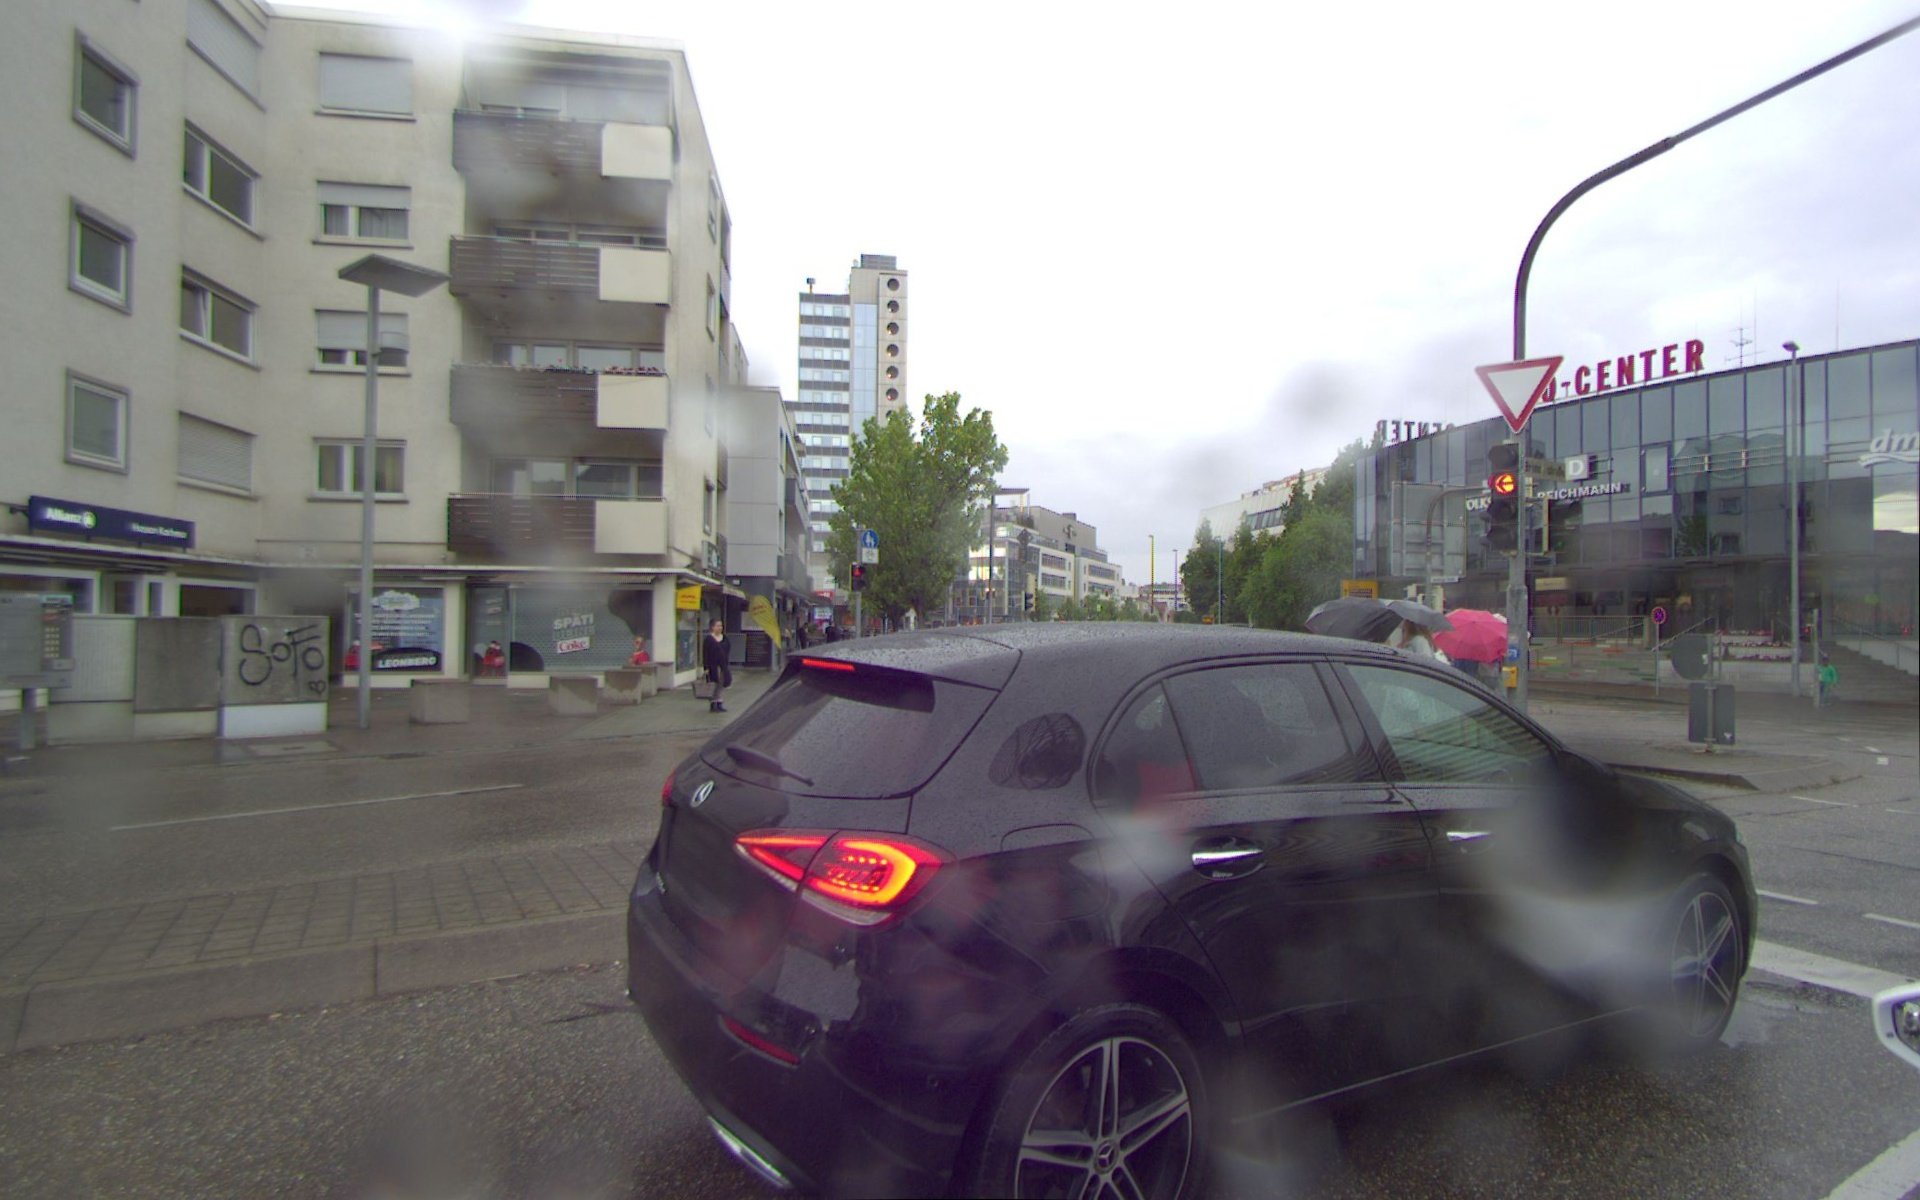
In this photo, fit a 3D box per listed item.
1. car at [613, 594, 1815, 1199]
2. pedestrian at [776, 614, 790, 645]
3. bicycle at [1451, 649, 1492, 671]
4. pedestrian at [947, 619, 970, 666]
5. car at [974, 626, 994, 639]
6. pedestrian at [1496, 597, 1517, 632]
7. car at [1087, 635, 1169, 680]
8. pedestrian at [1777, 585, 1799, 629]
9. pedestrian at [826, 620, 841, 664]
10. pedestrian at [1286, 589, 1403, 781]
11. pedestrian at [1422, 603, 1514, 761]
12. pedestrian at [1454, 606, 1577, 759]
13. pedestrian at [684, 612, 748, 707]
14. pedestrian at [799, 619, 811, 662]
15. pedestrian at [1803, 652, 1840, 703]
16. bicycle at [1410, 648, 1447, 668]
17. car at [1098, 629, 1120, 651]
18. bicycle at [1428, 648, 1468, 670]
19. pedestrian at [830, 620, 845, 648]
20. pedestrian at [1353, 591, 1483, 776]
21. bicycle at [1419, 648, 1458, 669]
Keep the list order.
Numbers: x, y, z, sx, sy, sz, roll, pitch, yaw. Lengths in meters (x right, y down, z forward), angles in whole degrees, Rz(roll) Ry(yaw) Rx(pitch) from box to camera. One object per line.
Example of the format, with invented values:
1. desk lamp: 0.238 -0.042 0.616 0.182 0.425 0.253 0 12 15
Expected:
1. car: 1.073 0.765 3.463 4.047 1.501 1.654 1 1 -31
2. pedestrian: -11.648 1.937 66.066 0.858 2.040 0.924 1 -1 -9
3. bicycle: 25.812 3.030 50.708 1.822 1.036 0.631 -1 -2 -11
4. pedestrian: -0.076 1.561 36.856 0.799 1.677 0.714 1 -2 -2
5. car: 2.606 3.495 109.847 1.414 1.314 3.770 2 -1 -10
6. pedestrian: 27.623 0.709 50.789 0.642 1.736 0.599 2 0 -6
7. car: 5.960 2.015 36.248 2.081 1.432 5.147 2 -2 1
8. pedestrian: 34.795 0.307 42.216 0.625 1.831 0.501 2 0 44
9. pedestrian: -5.214 1.734 41.511 0.557 1.817 0.491 1 -1 -3
10. pedestrian: 3.769 0.796 9.815 0.937 1.759 0.835 0 -2 31
11. pedestrian: 5.701 0.902 11.300 0.790 1.707 0.674 1 -2 14
12. pedestrian: 6.490 0.935 11.761 0.906 1.699 0.931 2 -2 -30
13. pedestrian: -4.253 1.029 17.489 0.904 1.606 0.652 2 -2 -32
14. pedestrian: -6.403 1.659 41.409 0.441 1.746 0.499 1 -2 -12
15. pedestrian: 29.072 2.596 33.909 0.938 1.644 0.805 -1 -2 42
16. bicycle: 25.062 3.105 53.748 1.820 0.964 0.535 -1 0 -8
17. car: 14.305 3.824 96.520 2.008 1.921 4.141 1 -1 7
18. bicycle: 25.429 3.066 52.336 1.822 1.056 0.646 -1 -1 -11
19. pedestrian: -8.127 2.275 66.582 0.858 1.835 0.924 1 -1 -9
20. pedestrian: 4.638 0.818 10.247 0.843 1.767 1.139 1 -1 3
21. bicycle: 25.285 3.070 53.080 1.822 1.047 0.628 -1 -1 -11
